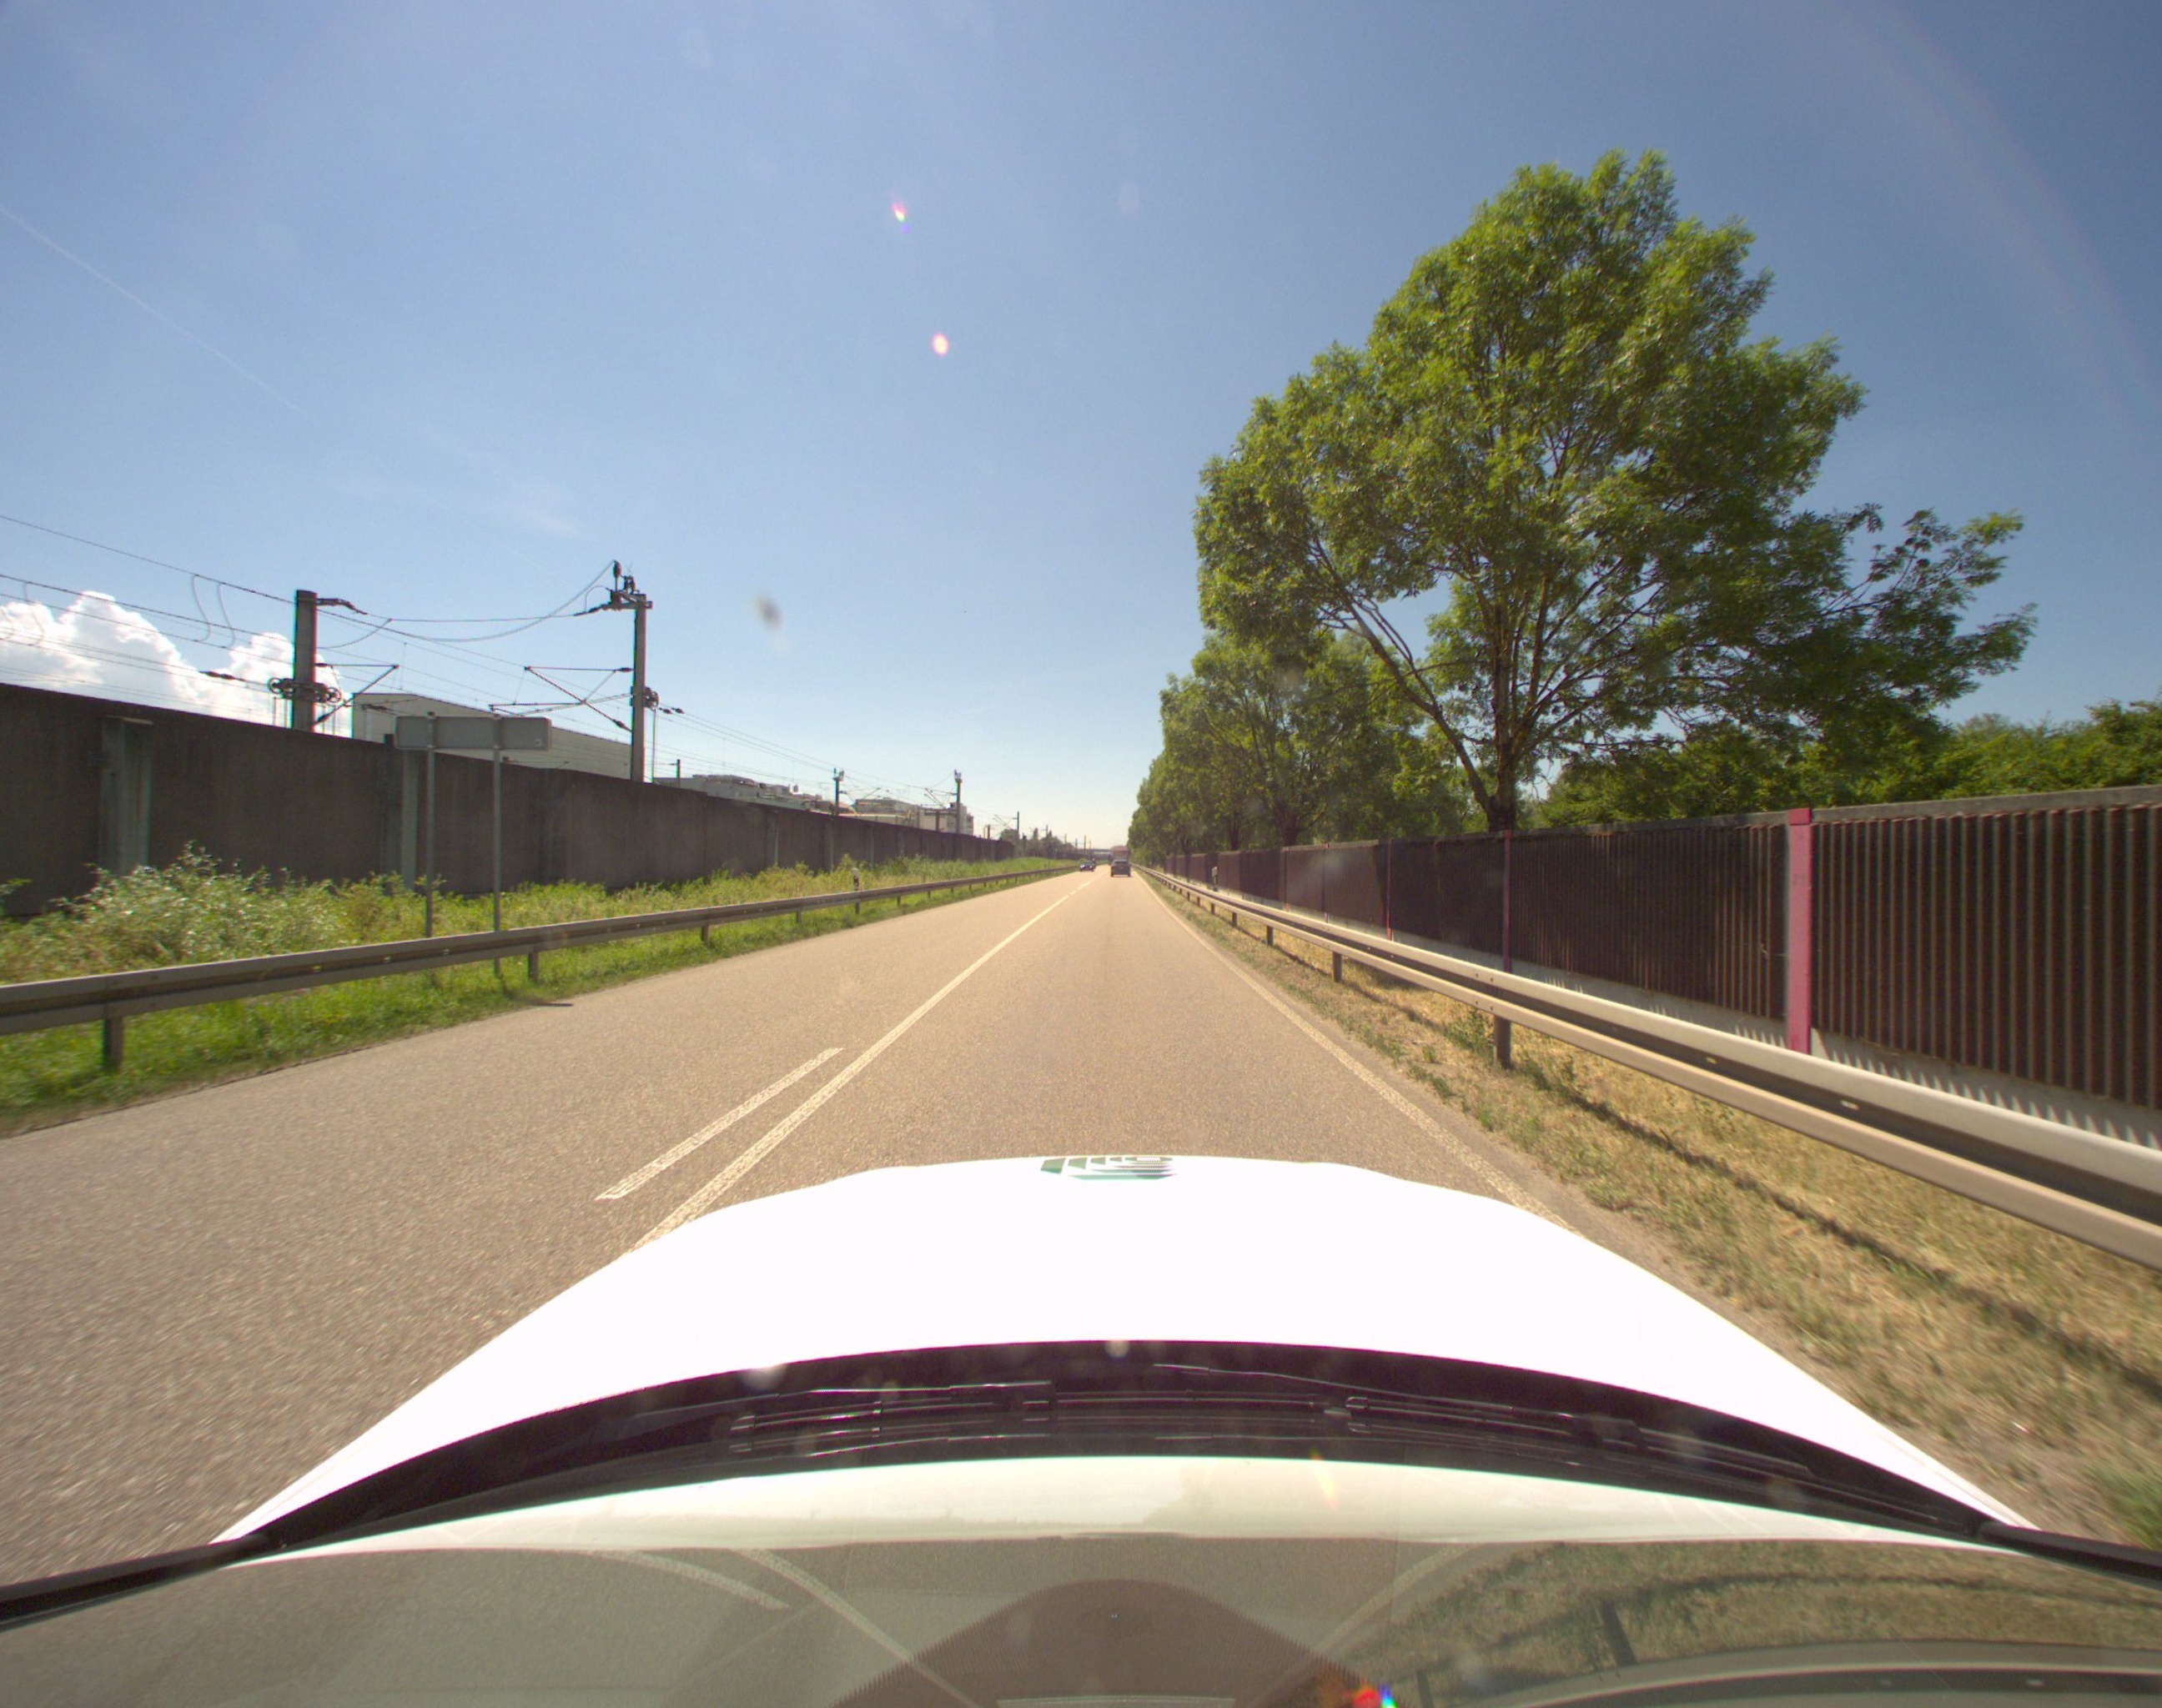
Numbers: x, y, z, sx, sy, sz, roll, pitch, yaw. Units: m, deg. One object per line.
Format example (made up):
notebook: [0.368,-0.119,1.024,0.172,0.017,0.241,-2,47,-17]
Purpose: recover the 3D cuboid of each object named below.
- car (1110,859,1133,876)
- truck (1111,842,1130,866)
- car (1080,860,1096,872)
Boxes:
car: [3.709,1.196,74.579,1.987,1.508,4.000,0,0,1]
truck: [5.855,0.046,120.564,2.759,3.425,10.826,0,-1,3]
car: [0.961,1.587,109.109,1.986,1.508,4.001,0,0,1]
